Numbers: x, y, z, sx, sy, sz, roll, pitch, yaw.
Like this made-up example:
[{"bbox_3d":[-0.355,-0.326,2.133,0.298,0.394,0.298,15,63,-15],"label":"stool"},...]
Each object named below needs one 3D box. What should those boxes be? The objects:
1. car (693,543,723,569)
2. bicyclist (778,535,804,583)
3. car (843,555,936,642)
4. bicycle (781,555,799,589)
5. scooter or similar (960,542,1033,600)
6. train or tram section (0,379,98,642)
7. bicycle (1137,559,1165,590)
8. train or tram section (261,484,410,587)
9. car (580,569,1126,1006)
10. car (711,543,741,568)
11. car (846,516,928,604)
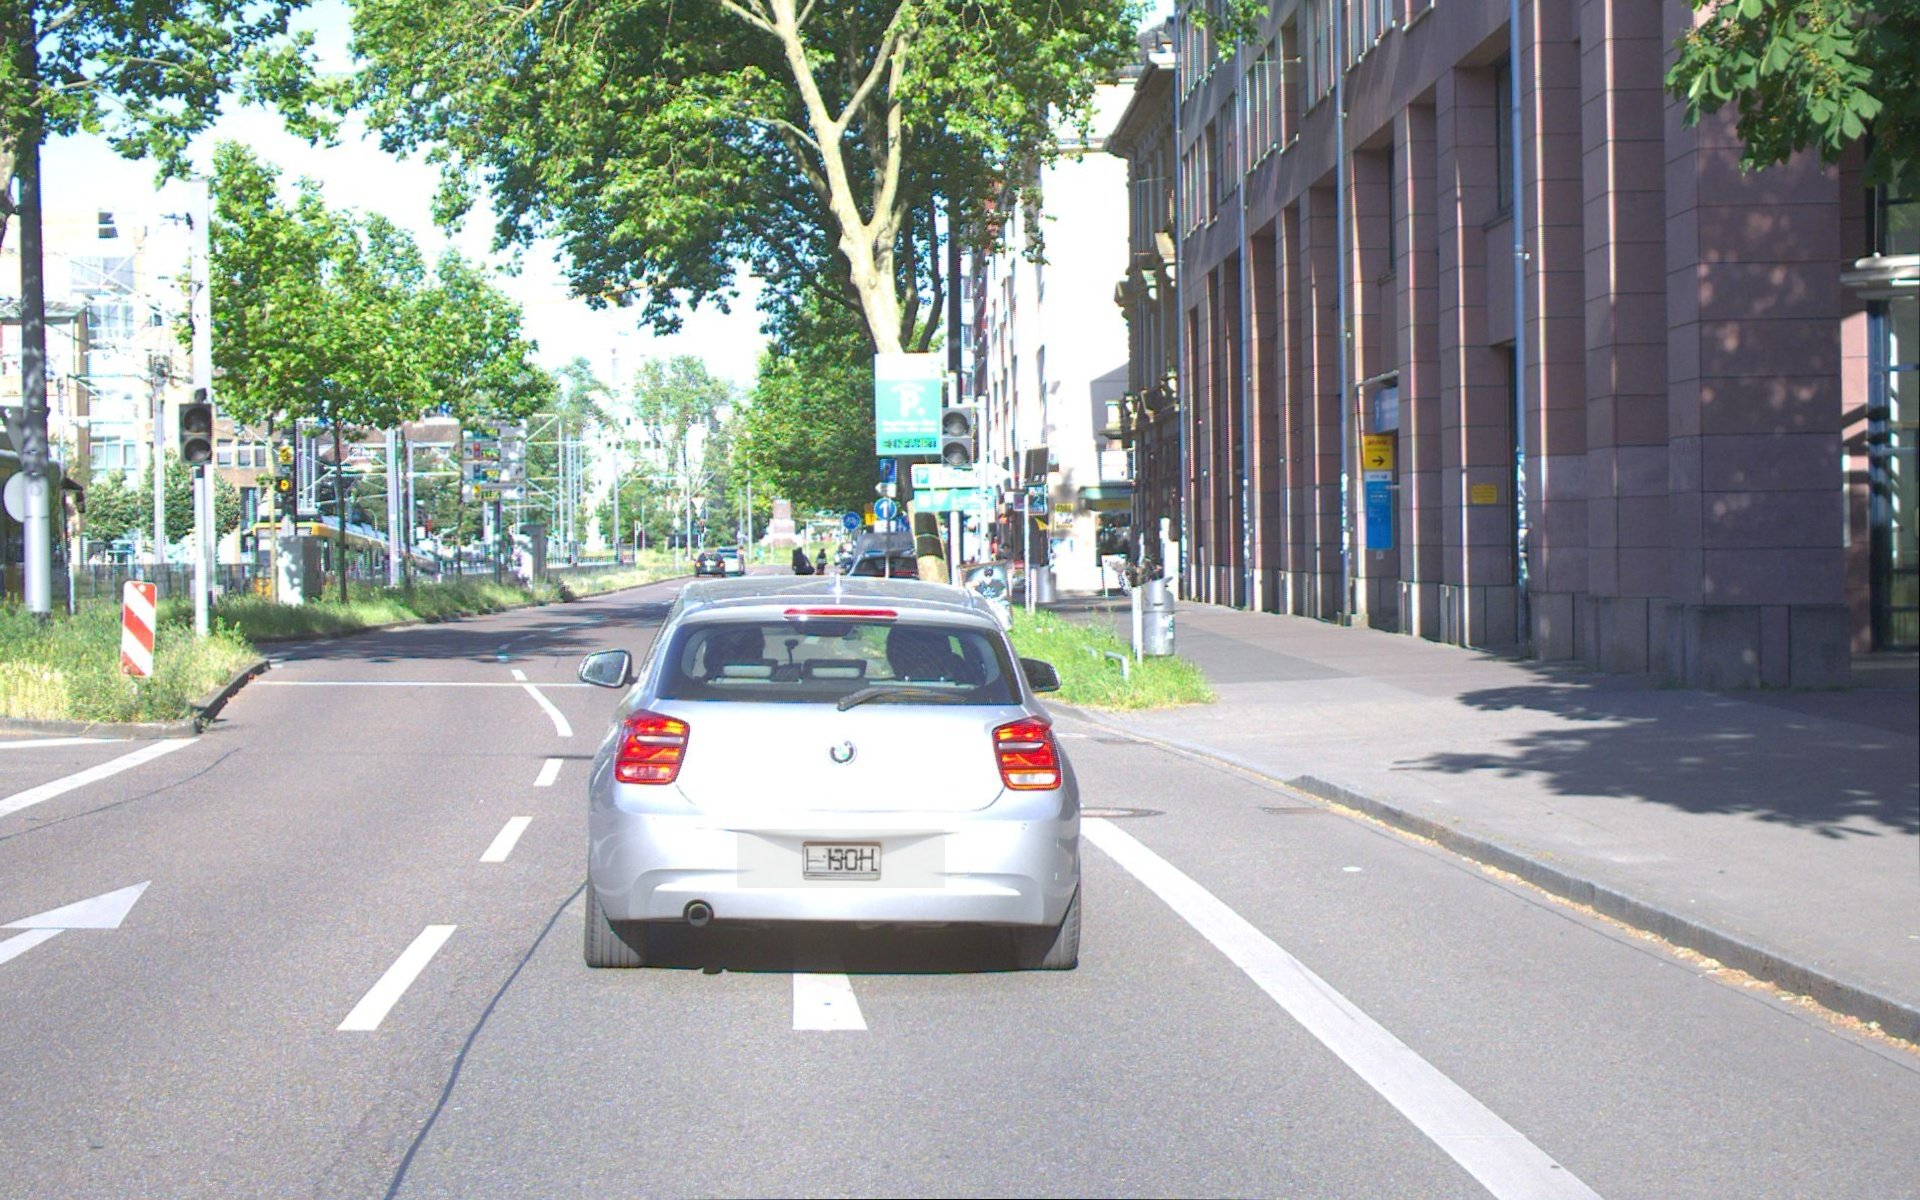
[{"bbox_3d":[-14.400,-2.534,196.331,1.726,1.465,4.411,0,1,-4],"label":"car"},{"bbox_3d":[-5.379,-1.309,109.659,0.785,1.526,0.895,1,1,-2],"label":"bicyclist"},{"bbox_3d":[-1.323,-0.053,65.442,1.668,1.565,4.280,1,1,-1],"label":"car"},{"bbox_3d":[-5.424,-0.903,109.667,0.499,1.085,1.997,1,1,-2],"label":"bicycle"},{"bbox_3d":[0.790,-0.641,74.663,1.540,1.233,0.449,-1,1,-1],"label":"scooter or similar"},{"bbox_3d":[-15.841,-1.381,53.228,2.952,3.883,10.804,1,1,-4],"label":"train or tram section"},{"bbox_3d":[5.052,-0.677,90.940,0.548,0.771,1.663,-2,1,-2],"label":"bicycle"},{"bbox_3d":[-22.954,-2.398,127.712,2.963,3.472,21.221,1,1,-4],"label":"train or tram section"},{"bbox_3d":[-0.403,0.610,13.490,1.798,1.410,4.000,1,1,-1],"label":"car"},{"bbox_3d":[-13.918,-2.655,204.452,1.644,1.416,4.000,1,1,-2],"label":"car"},{"bbox_3d":[-1.775,-0.957,82.155,1.856,2.007,4.724,1,1,-2],"label":"car"}]
